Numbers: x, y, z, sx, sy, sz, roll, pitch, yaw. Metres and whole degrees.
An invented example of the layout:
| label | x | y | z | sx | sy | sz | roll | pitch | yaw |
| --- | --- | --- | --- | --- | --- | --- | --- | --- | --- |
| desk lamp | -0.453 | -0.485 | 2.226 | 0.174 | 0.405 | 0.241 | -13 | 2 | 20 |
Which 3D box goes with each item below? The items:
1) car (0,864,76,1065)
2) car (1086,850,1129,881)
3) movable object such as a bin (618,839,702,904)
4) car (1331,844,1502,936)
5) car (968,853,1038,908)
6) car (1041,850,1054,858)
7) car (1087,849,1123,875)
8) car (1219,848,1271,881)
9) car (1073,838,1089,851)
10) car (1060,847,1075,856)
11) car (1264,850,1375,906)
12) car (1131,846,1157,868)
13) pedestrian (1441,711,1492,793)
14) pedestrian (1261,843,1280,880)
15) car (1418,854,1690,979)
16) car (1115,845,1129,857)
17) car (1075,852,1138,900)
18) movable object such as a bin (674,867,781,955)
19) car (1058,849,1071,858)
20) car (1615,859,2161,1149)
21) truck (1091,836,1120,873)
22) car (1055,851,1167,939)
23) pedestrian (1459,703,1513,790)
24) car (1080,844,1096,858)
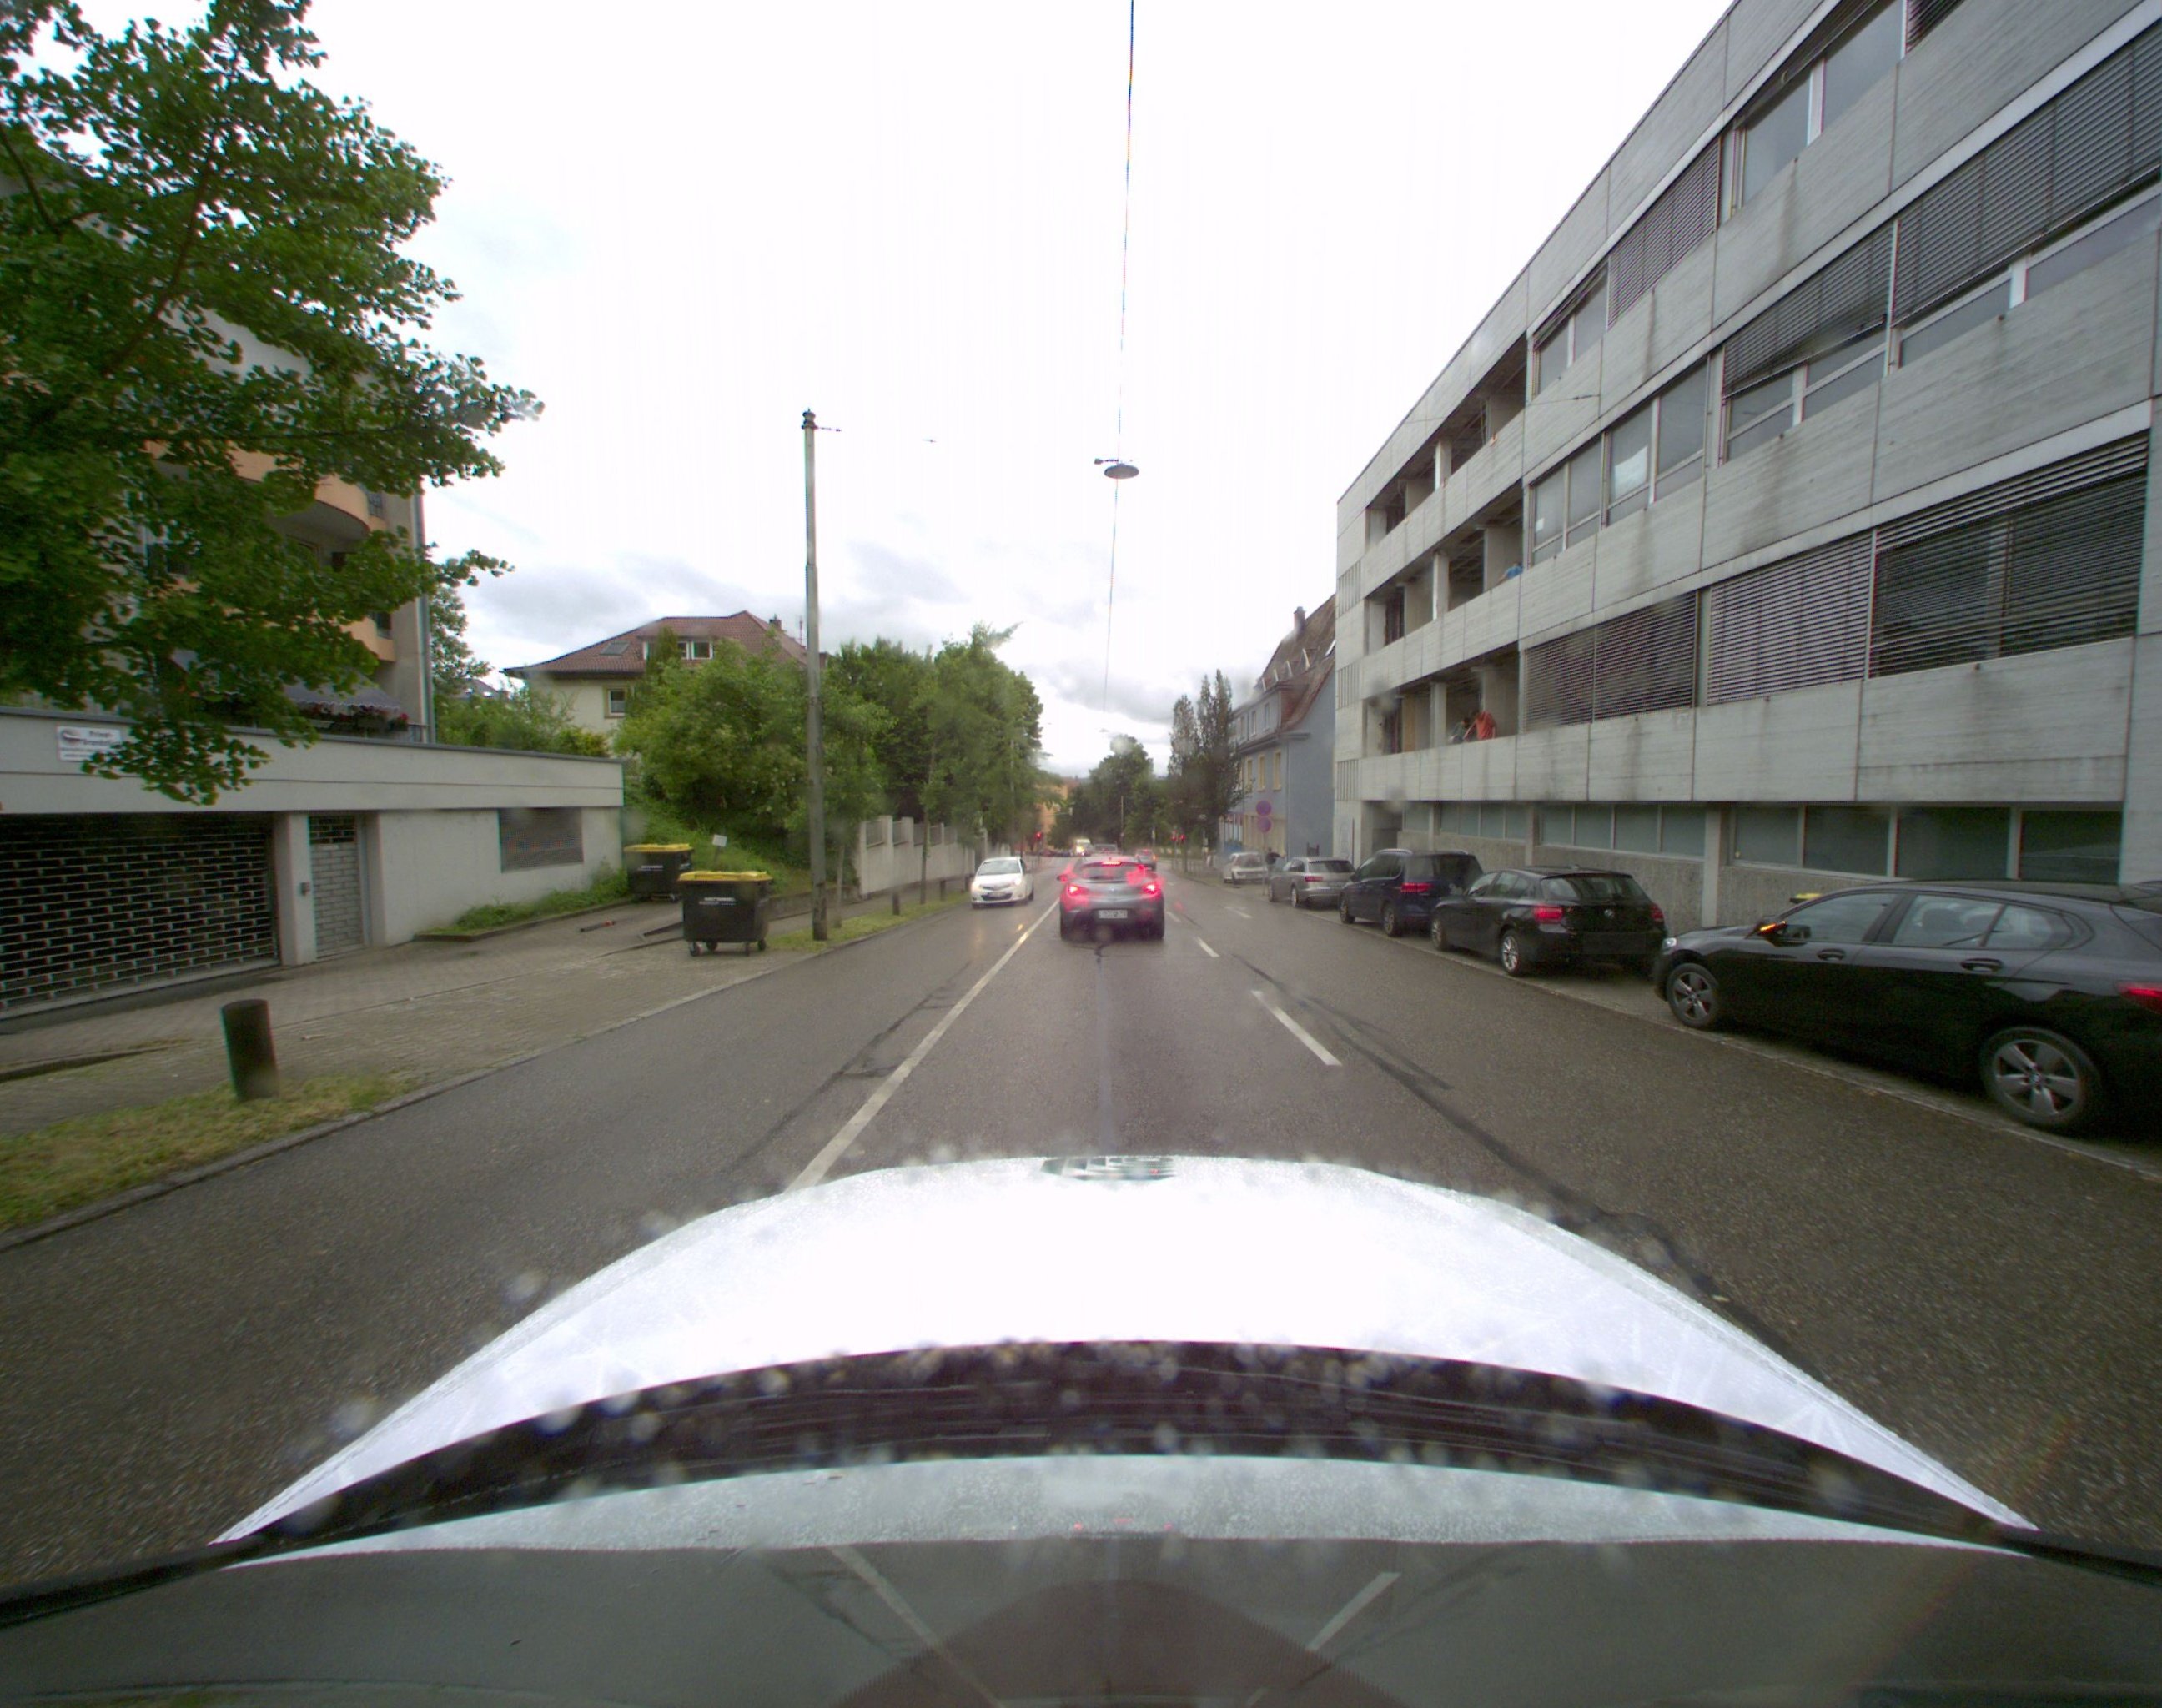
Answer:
| label | x | y | z | sx | sy | sz | roll | pitch | yaw |
| --- | --- | --- | --- | --- | --- | --- | --- | --- | --- |
| car | -9.421 | 0.944 | 4.784 | 1.771 | 1.561 | 4.099 | -5 | 0 | 1 |
| car | 1.245 | 0.520 | 39.853 | 1.955 | 1.448 | 4.305 | 1 | 0 | 0 |
| movable object such as a bin | -9.751 | 0.386 | 18.926 | 1.296 | 1.363 | 1.225 | 0 | 6 | -6 |
| car | 6.582 | 0.629 | 16.493 | 1.723 | 1.599 | 4.160 | -1 | 0 | 0 |
| car | -2.422 | 0.779 | 26.193 | 1.703 | 1.531 | 3.843 | -3 | 0 | 1 |
| car | -6.894 | 0.010 | 168.788 | 1.726 | 1.638 | 3.858 | -1 | 0 | -16 |
| car | 1.362 | 0.446 | 47.517 | 1.955 | 1.448 | 4.305 | 1 | 0 | 0 |
| car | 7.791 | 0.485 | 38.972 | 1.717 | 1.448 | 3.880 | -1 | 0 | 0 |
| car | -0.050 | -1.275 | 110.748 | 1.721 | 1.638 | 3.870 | -1 | 0 | -7 |
| car | -2.490 | -0.434 | 149.919 | 1.726 | 1.543 | 3.858 | -1 | 0 | -16 |
| car | 6.897 | 0.642 | 24.100 | 1.956 | 1.448 | 4.526 | -1 | 0 | 0 |
| car | 5.052 | 0.226 | 65.481 | 1.717 | 1.714 | 3.879 | -1 | 0 | 0 |
| pedestrian | 9.995 | -2.627 | 21.128 | 0.904 | 2.014 | 0.861 | 0 | -1 | 1 |
| pedestrian | 9.116 | 0.360 | 39.166 | 0.780 | 1.729 | 0.651 | 1 | 0 | 1 |
| car | 6.522 | 0.754 | 11.857 | 1.740 | 1.448 | 4.256 | -1 | 0 | 4 |
| car | 5.940 | -0.463 | 119.279 | 1.718 | 1.638 | 3.877 | -1 | 0 | -2 |
| car | 0.825 | 0.683 | 27.716 | 1.955 | 1.448 | 4.305 | 1 | 0 | 0 |
| movable object such as a bin | -5.690 | 0.889 | 13.208 | 1.296 | 1.306 | 1.153 | 0 | 1 | -7 |
| car | -2.792 | -0.087 | 139.885 | 1.722 | 1.638 | 3.867 | 0 | -1 | -9 |
| car | 6.524 | 0.783 | 6.225 | 1.987 | 1.435 | 4.442 | 0 | 0 | 0 |
| truck | 1.672 | 0.012 | 57.518 | 1.955 | 2.429 | 4.936 | 1 | 0 | 0 |
| car | 0.498 | 0.669 | 15.374 | 1.831 | 1.434 | 3.879 | -1 | 0 | 0 |
| pedestrian | 9.922 | -2.617 | 19.981 | 0.904 | 2.014 | 0.861 | 0 | -1 | 1 |
| car | 0.893 | -0.355 | 103.083 | 1.864 | 1.638 | 3.880 | -1 | 0 | 0 |
